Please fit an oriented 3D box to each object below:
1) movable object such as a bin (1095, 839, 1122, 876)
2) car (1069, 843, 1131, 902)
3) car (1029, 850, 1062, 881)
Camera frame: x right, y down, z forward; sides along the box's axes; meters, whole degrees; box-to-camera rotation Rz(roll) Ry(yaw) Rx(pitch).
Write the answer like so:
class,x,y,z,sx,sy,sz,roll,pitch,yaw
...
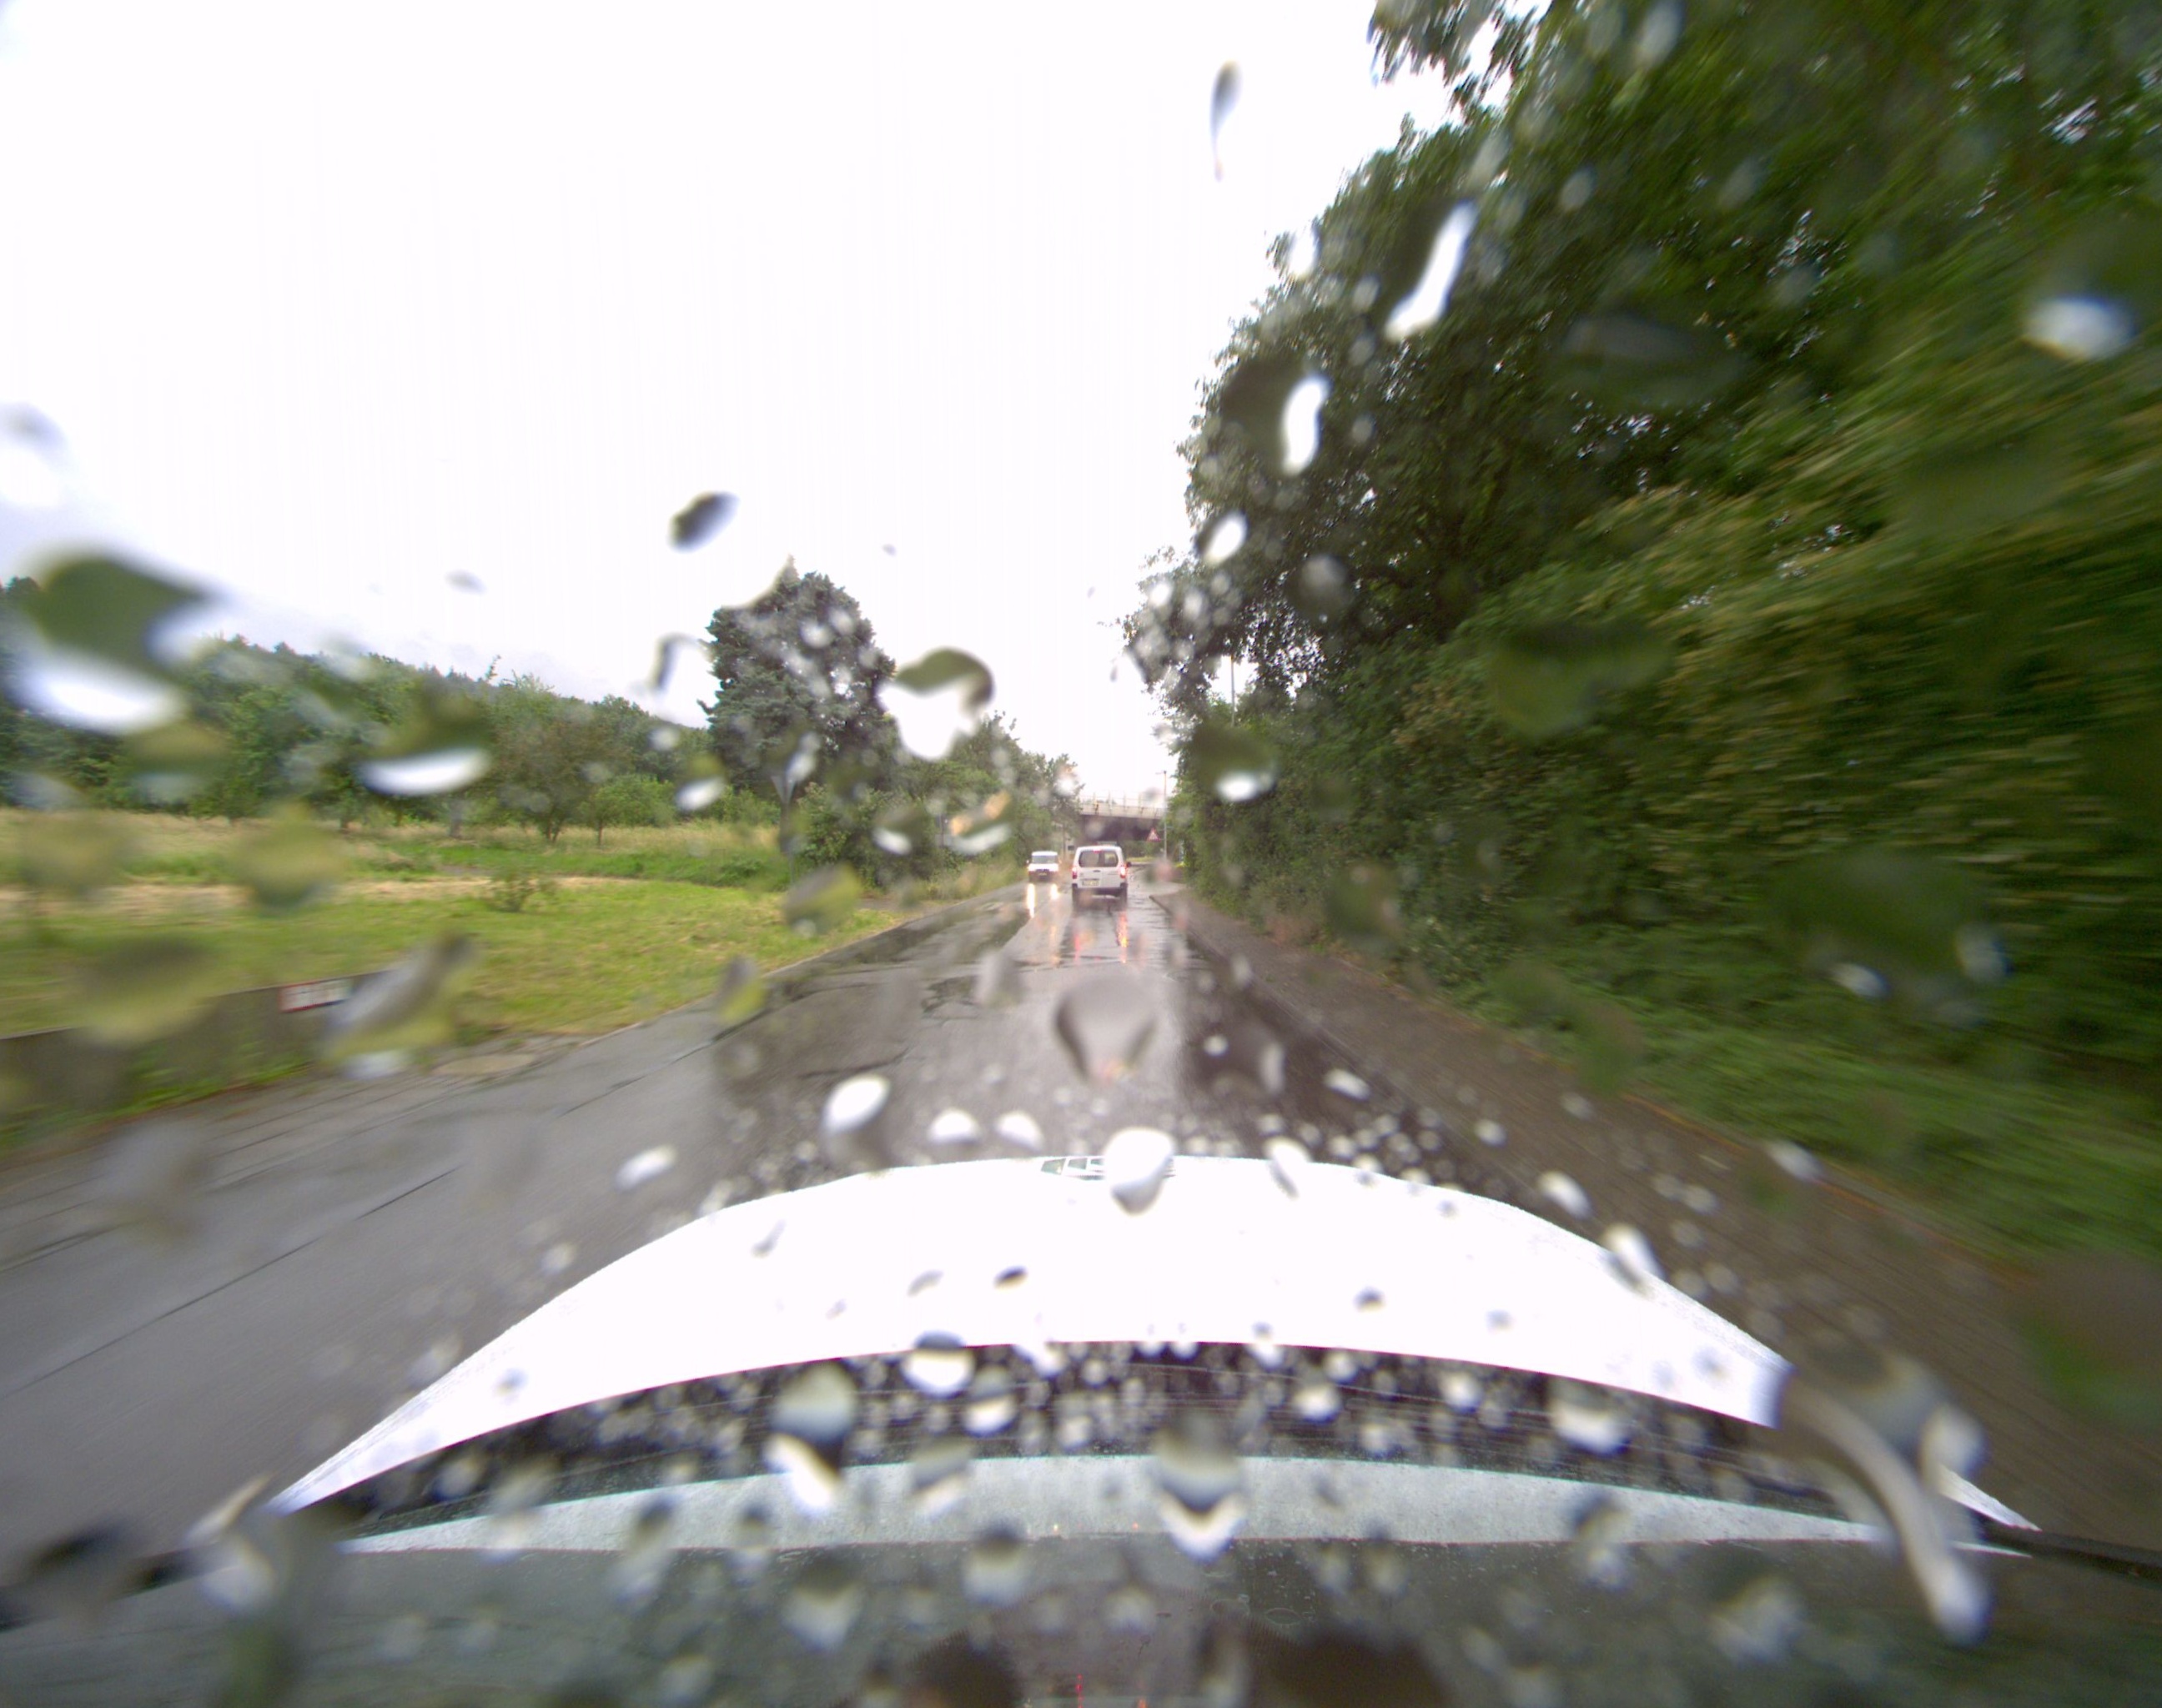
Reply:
class,x,y,z,sx,sy,sz,roll,pitch,yaw
movable object such as a bin,1.976,0.259,57.570,1.753,2.548,4.243,0,0,4
car,0.661,0.561,27.615,1.889,1.807,4.002,-2,1,2
car,-2.137,0.666,49.749,1.817,1.832,4.306,0,0,0
